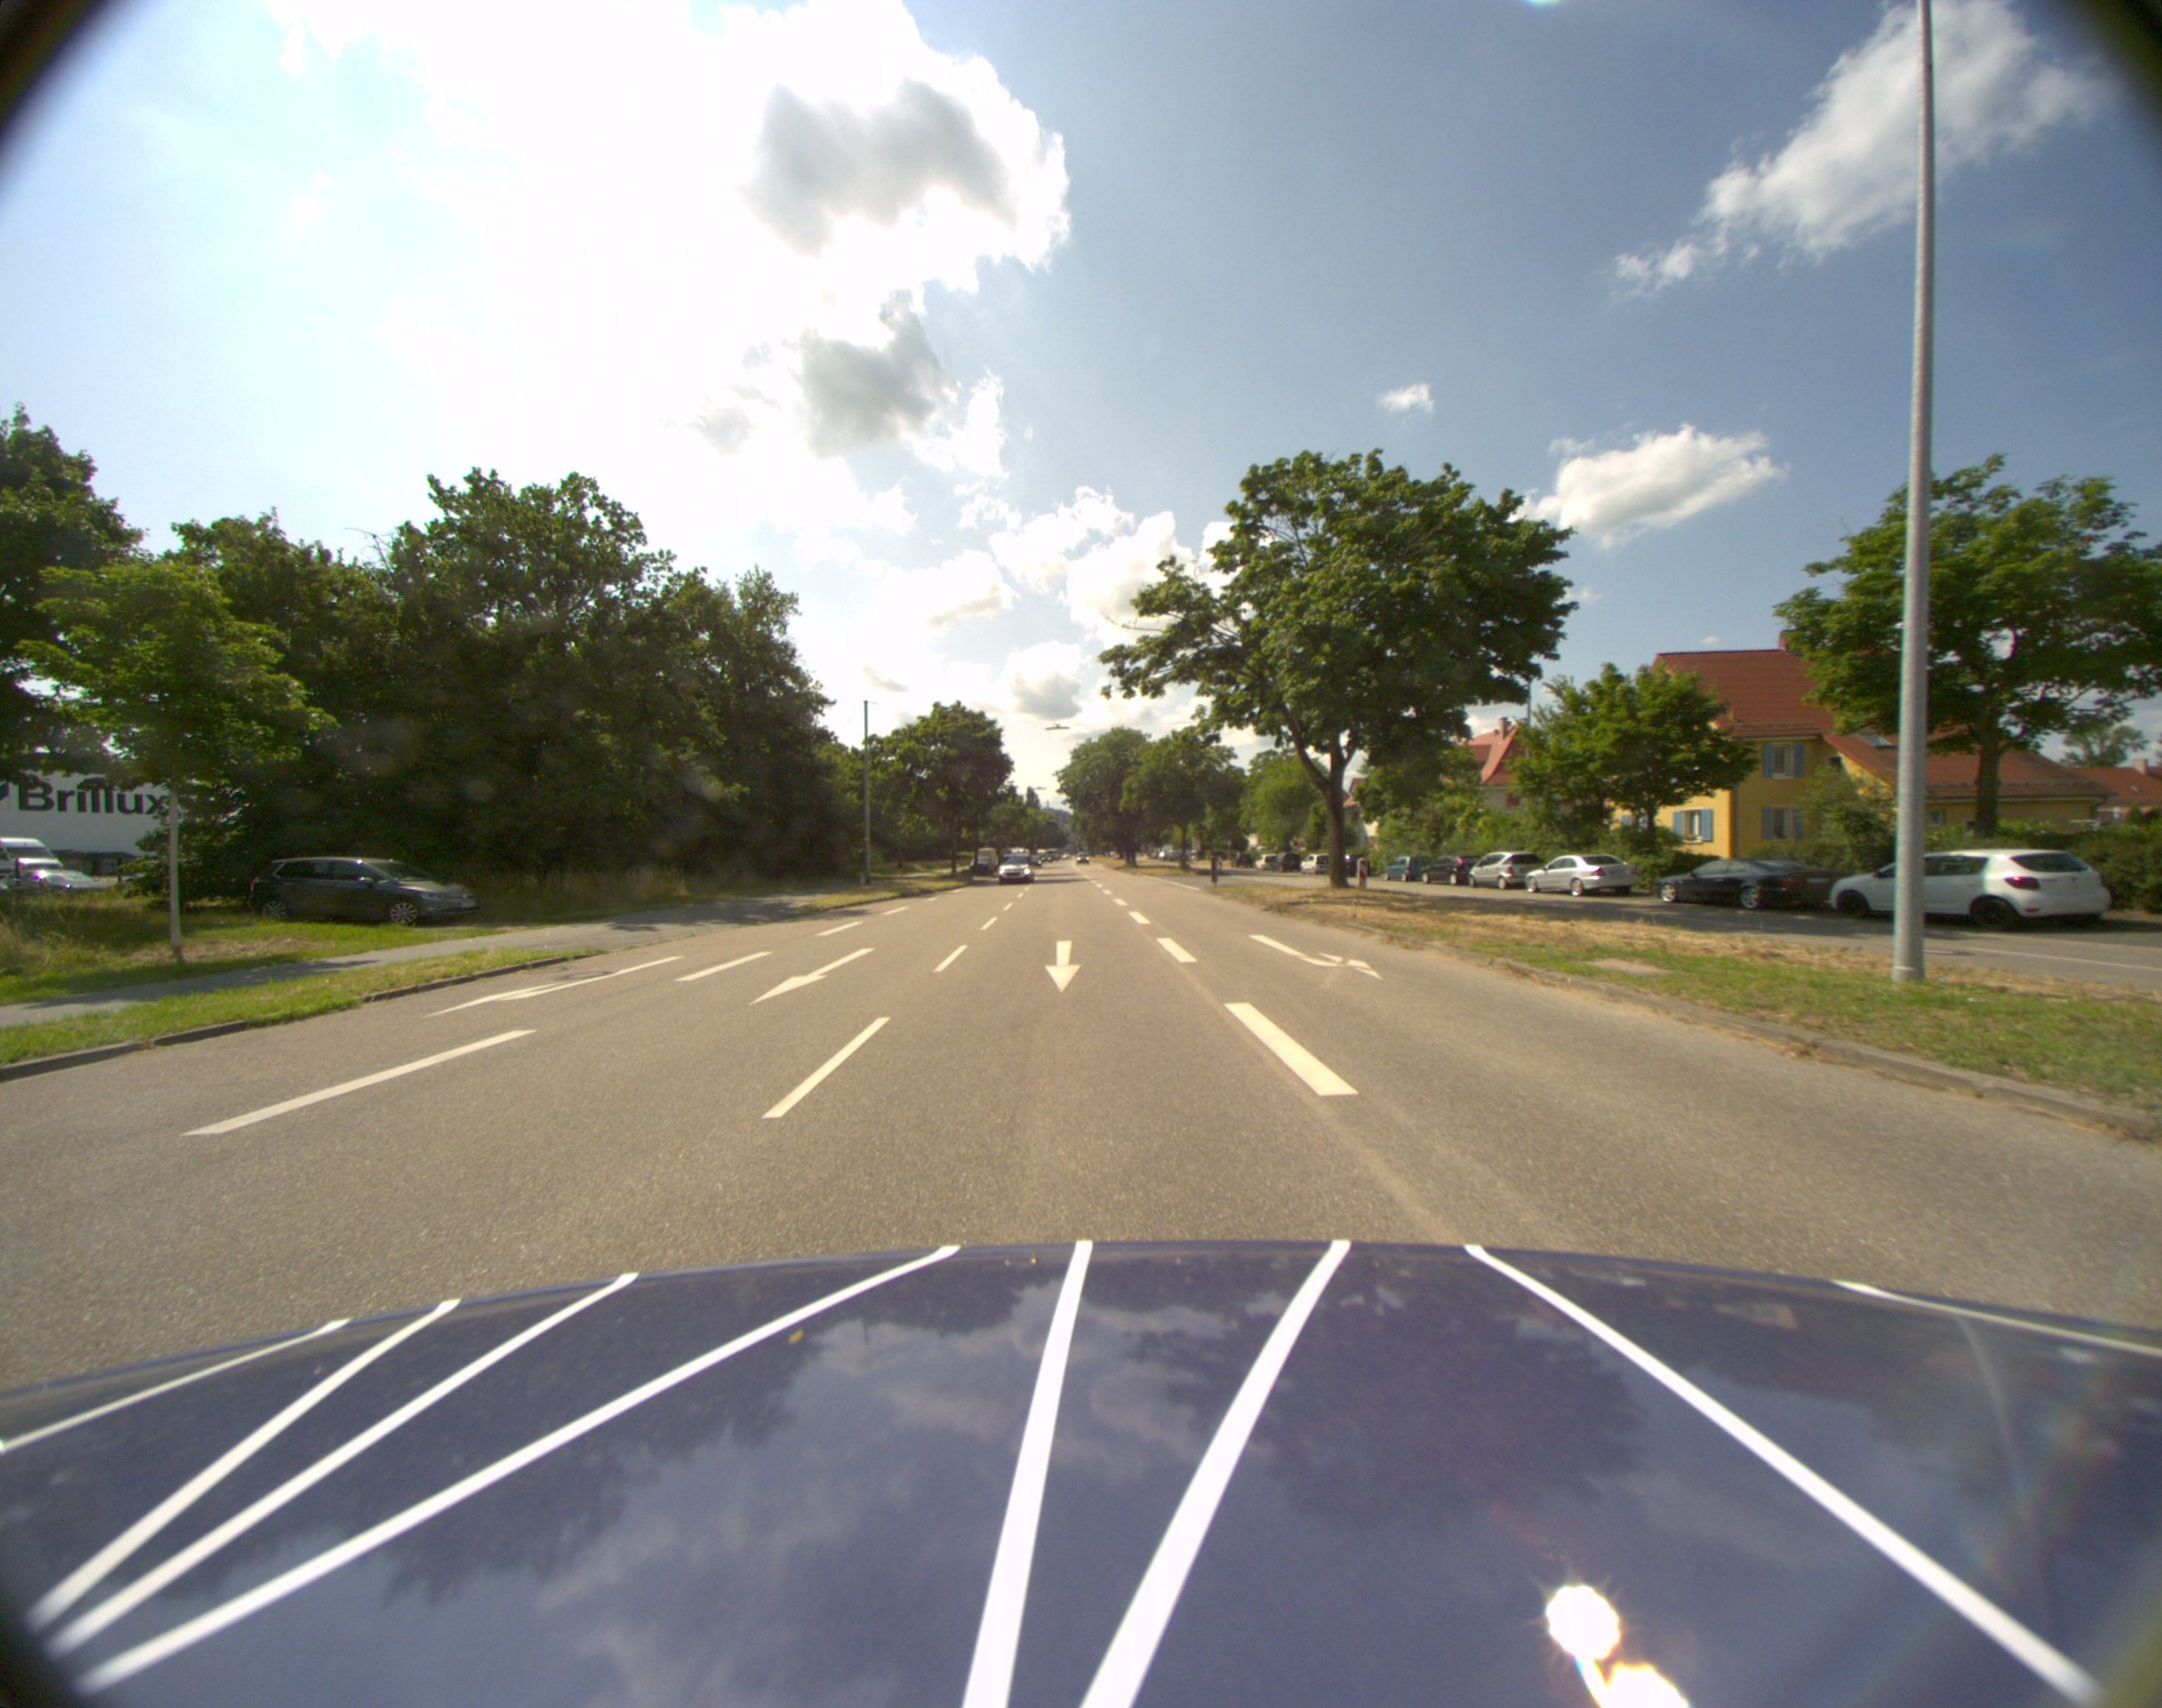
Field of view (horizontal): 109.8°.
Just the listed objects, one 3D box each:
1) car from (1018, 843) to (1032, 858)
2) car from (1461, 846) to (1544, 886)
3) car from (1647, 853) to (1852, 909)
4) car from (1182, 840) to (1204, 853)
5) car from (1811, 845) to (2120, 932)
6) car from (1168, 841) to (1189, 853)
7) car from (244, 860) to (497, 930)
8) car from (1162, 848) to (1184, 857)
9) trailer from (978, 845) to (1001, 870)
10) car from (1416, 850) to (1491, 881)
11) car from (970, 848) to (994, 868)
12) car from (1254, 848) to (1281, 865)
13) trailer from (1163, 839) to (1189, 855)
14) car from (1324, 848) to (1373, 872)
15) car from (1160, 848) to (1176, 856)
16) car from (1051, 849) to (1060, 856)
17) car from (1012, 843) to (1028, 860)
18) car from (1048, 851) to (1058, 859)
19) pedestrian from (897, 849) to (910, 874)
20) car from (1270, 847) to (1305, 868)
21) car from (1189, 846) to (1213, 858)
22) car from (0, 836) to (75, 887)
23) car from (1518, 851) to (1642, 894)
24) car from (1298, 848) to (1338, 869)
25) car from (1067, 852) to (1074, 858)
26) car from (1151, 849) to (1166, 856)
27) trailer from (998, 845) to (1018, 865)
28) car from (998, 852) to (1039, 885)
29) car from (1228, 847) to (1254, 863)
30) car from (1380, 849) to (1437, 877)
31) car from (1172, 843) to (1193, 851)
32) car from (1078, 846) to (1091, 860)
[{"bbox_3d":[-10.170,-0.711,137.862,2.262,2.526,6.766,1,1,-2],"label":"car"},{"bbox_3d":[18.107,0.481,32.796,1.406,1.548,3.741,-3,1,-1],"label":"car"},{"bbox_3d":[18.097,0.651,20.929,1.640,1.298,4.584,-3,0,1],"label":"car"},{"bbox_3d":[19.911,-1.317,134.895,4.007,2.002,1.800,-4,2,-43],"label":"car"},{"bbox_3d":[18.093,0.598,15.896,1.693,1.477,4.123,-3,1,1],"label":"car"},{"bbox_3d":[18.488,-1.292,143.593,4.007,2.002,1.800,-4,2,-43],"label":"car"},{"bbox_3d":[-16.884,0.965,18.238,4.175,1.484,1.784,2,-1,-4],"label":"car"},{"bbox_3d":[18.033,-0.356,148.511,3.997,1.502,1.799,-3,1,0],"label":"car"},{"bbox_3d":[-9.035,0.307,75.293,1.958,2.338,4.604,0,1,-2],"label":"trailer"},{"bbox_3d":[18.081,0.513,37.065,1.406,1.387,4.356,-3,0,-1],"label":"car"},{"bbox_3d":[-8.935,0.347,68.853,1.595,1.681,4.361,0,1,-1],"label":"car"},{"bbox_3d":[17.625,0.224,71.983,1.598,1.453,3.534,-3,1,-2],"label":"car"},{"bbox_3d":[20.091,-1.430,160.545,2.820,3.090,5.764,-3,0,37],"label":"trailer"},{"bbox_3d":[17.966,0.362,51.182,1.665,1.473,4.103,-3,0,-2],"label":"car"},{"bbox_3d":[19.659,-0.422,171.246,1.668,1.456,3.827,-2,2,41],"label":"car"},{"bbox_3d":[-5.471,-0.313,162.361,1.892,1.281,3.998,-3,1,-2],"label":"car"},{"bbox_3d":[-10.065,-0.449,125.306,2.262,2.787,6.766,1,1,-2],"label":"car"},{"bbox_3d":[-5.146,0.138,140.654,1.892,1.281,3.998,-3,1,-2],"label":"car"},{"bbox_3d":[-13.274,0.555,56.703,0.719,1.784,0.739,-3,2,-2],"label":"pedestrian"},{"bbox_3d":[17.727,0.263,65.427,1.665,1.603,4.313,-3,1,-2],"label":"car"},{"bbox_3d":[19.768,-0.411,125.270,4.008,1.849,1.800,-2,0,-43],"label":"car"},{"bbox_3d":[-64.949,0.499,46.395,5.347,2.902,2.001,-3,1,12],"label":"car"},{"bbox_3d":[17.919,0.606,27.561,1.514,1.362,4.531,-3,0,1],"label":"car"},{"bbox_3d":[18.002,0.309,57.884,1.665,1.443,3.845,-3,1,-2],"label":"car"},{"bbox_3d":[-2.888,0.325,204.824,1.799,1.501,4.000,-1,0,1],"label":"car"},{"bbox_3d":[18.424,-0.310,180.178,1.668,1.341,3.827,-2,2,41],"label":"car"},{"bbox_3d":[-9.166,0.049,96.114,1.999,2.352,4.780,3,1,-1],"label":"trailer"},{"bbox_3d":[-3.644,0.804,45.015,1.935,1.774,4.715,-3,0,0],"label":"car"},{"bbox_3d":[17.383,0.097,82.598,1.772,1.543,3.998,-3,1,-2],"label":"car"},{"bbox_3d":[18.125,0.467,42.200,1.566,1.387,3.476,-3,1,-1],"label":"car"},{"bbox_3d":[18.871,-1.294,141.478,4.007,1.390,1.569,-4,2,-43],"label":"car"},{"bbox_3d":[0.575,-0.110,110.793,1.768,1.893,4.540,-3,1,1],"label":"car"}]
